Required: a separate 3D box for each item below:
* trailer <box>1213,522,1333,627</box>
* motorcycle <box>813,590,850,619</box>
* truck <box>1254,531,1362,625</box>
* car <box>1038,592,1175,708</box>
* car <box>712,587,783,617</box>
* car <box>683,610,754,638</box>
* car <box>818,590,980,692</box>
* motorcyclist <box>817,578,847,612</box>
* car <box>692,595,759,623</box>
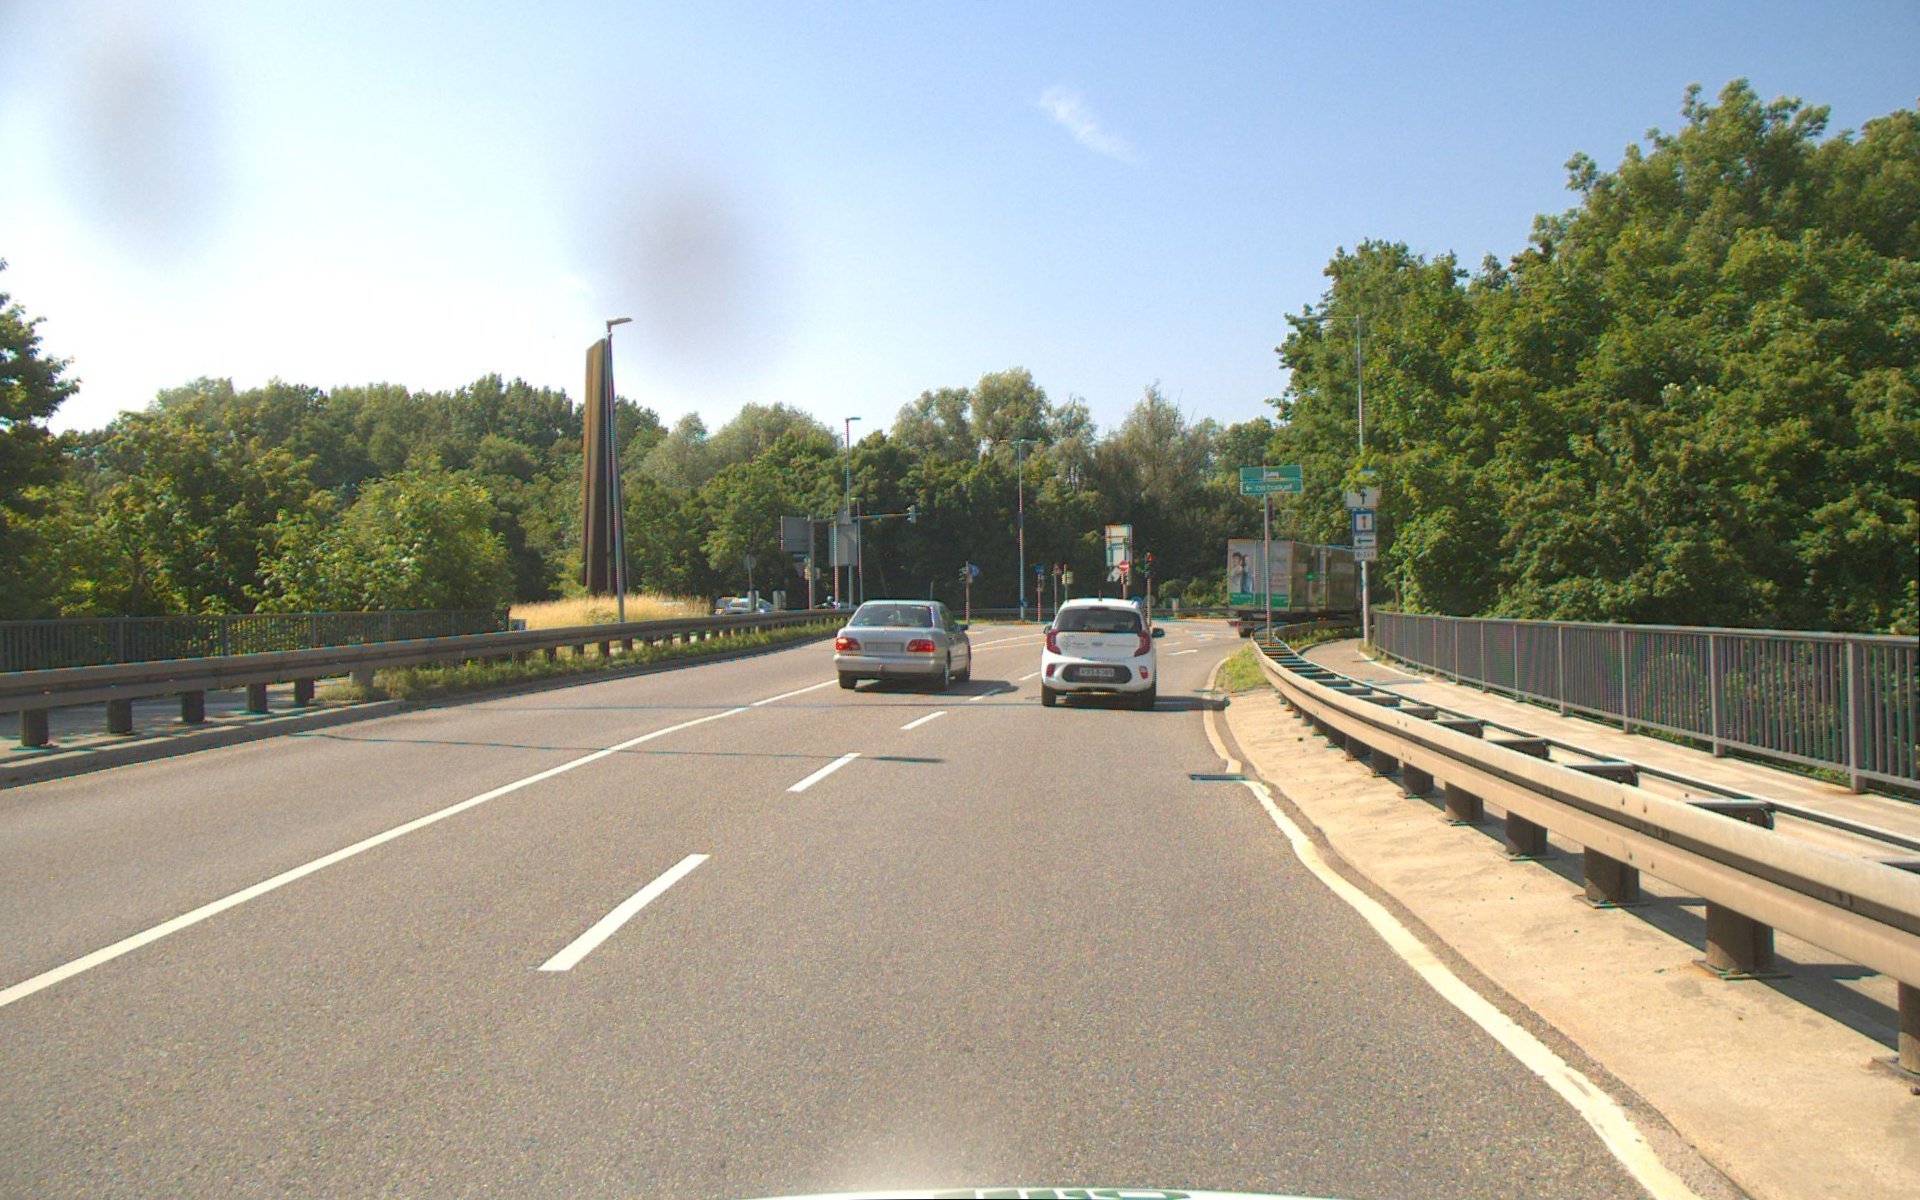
[{"bbox_3d":[12.569,-0.959,65.839,3.159,3.823,7.824,3,1,21],"label":"trailer"},{"bbox_3d":[-7.332,0.279,94.293,1.944,1.556,0.895,-3,-3,37],"label":"motorcycle"},{"bbox_3d":[15.527,-0.918,73.318,3.194,3.823,8.370,3,1,21],"label":"truck"},{"bbox_3d":[2.230,0.681,24.339,1.665,1.520,4.003,2,0,9],"label":"car"},{"bbox_3d":[-11.759,0.128,91.421,3.924,1.413,1.693,-4,-5,39],"label":"car"},{"bbox_3d":[-14.396,1.431,98.341,3.924,1.413,2.113,-4,-4,39],"label":"car"},{"bbox_3d":[-0.899,0.614,27.446,1.898,1.512,4.904,1,0,7],"label":"car"},{"bbox_3d":[-7.296,-0.260,94.265,1.435,1.903,0.888,0,-1,37],"label":"motorcyclist"},{"bbox_3d":[-13.817,0.540,97.271,3.924,1.413,1.758,-4,-5,39],"label":"car"}]
